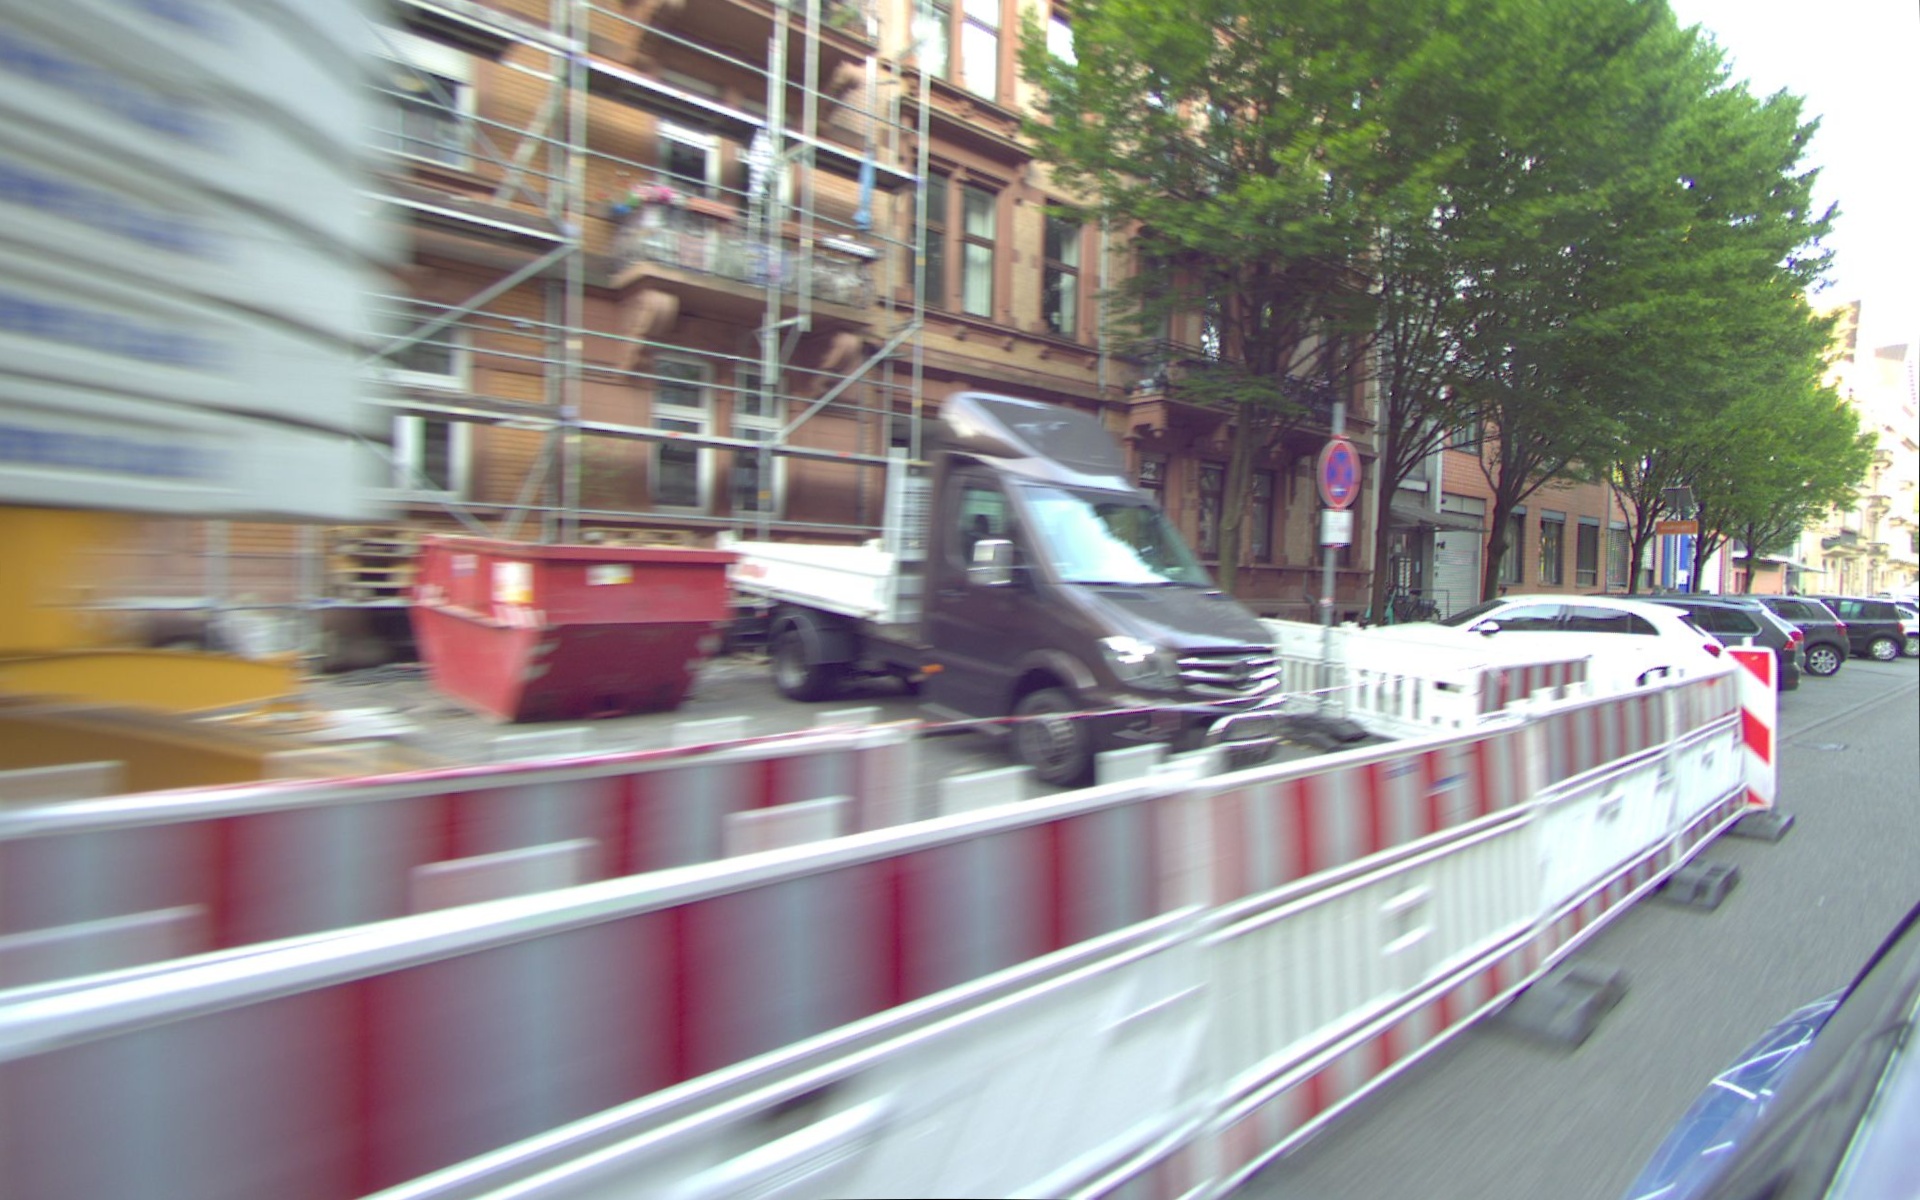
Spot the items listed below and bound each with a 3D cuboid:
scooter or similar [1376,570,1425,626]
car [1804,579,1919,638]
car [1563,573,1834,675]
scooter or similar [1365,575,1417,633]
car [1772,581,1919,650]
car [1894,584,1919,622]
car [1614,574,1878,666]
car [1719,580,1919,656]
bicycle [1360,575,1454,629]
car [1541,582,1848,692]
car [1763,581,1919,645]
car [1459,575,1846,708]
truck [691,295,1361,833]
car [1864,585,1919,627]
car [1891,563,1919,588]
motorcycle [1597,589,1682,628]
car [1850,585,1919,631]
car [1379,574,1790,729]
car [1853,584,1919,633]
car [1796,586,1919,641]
[{"bbox_3d":[10.382,-0.048,23.842,1.044,1.297,0.330,0,0,-11],"label":"scooter or similar"},{"bbox_3d":[30.178,0.282,32.862,3.792,1.668,1.666,4,4,23],"label":"car"},{"bbox_3d":[13.284,0.371,18.472,3.591,1.536,1.613,4,3,22],"label":"car"},{"bbox_3d":[9.862,0.086,23.156,1.045,1.297,0.330,0,0,-3],"label":"scooter or similar"},{"bbox_3d":[24.684,0.417,27.367,3.788,1.584,1.668,4,4,20],"label":"car"},{"bbox_3d":[42.310,0.246,42.816,3.810,1.536,1.658,5,4,34],"label":"car"},{"bbox_3d":[15.622,0.338,20.358,3.749,1.536,1.641,3,3,18],"label":"car"},{"bbox_3d":[22.197,0.406,26.161,3.801,1.584,1.662,4,4,29],"label":"car"},{"bbox_3d":[10.995,0.036,24.922,2.008,1.179,0.574,5,3,32],"label":"bicycle"},{"bbox_3d":[11.810,0.525,16.587,3.585,1.438,1.821,4,3,18],"label":"car"},{"bbox_3d":[26.194,0.352,29.612,3.788,1.584,1.668,4,4,20],"label":"car"},{"bbox_3d":[9.684,0.512,14.557,4.109,1.506,1.824,3,2,14],"label":"car"},{"bbox_3d":[-0.010,-0.247,9.221,2.478,3.115,6.499,-1,1,-37],"label":"truck"},{"bbox_3d":[38.356,0.313,39.877,3.810,1.536,1.658,5,4,34],"label":"car"},{"bbox_3d":[61.444,-1.466,63.654,3.790,1.536,1.667,4,4,22],"label":"car"},{"bbox_3d":[19.865,0.236,29.646,0.578,0.937,1.993,1,4,-27],"label":"motorcycle"},{"bbox_3d":[36.276,0.353,38.035,3.790,1.536,1.667,4,4,22],"label":"car"},{"bbox_3d":[7.494,0.538,12.604,3.940,1.506,1.677,3,2,16],"label":"car"},{"bbox_3d":[33.064,0.349,34.247,3.784,1.536,1.669,3,4,18],"label":"car"},{"bbox_3d":[28.299,0.421,30.910,3.788,1.447,1.668,4,4,20],"label":"car"}]
